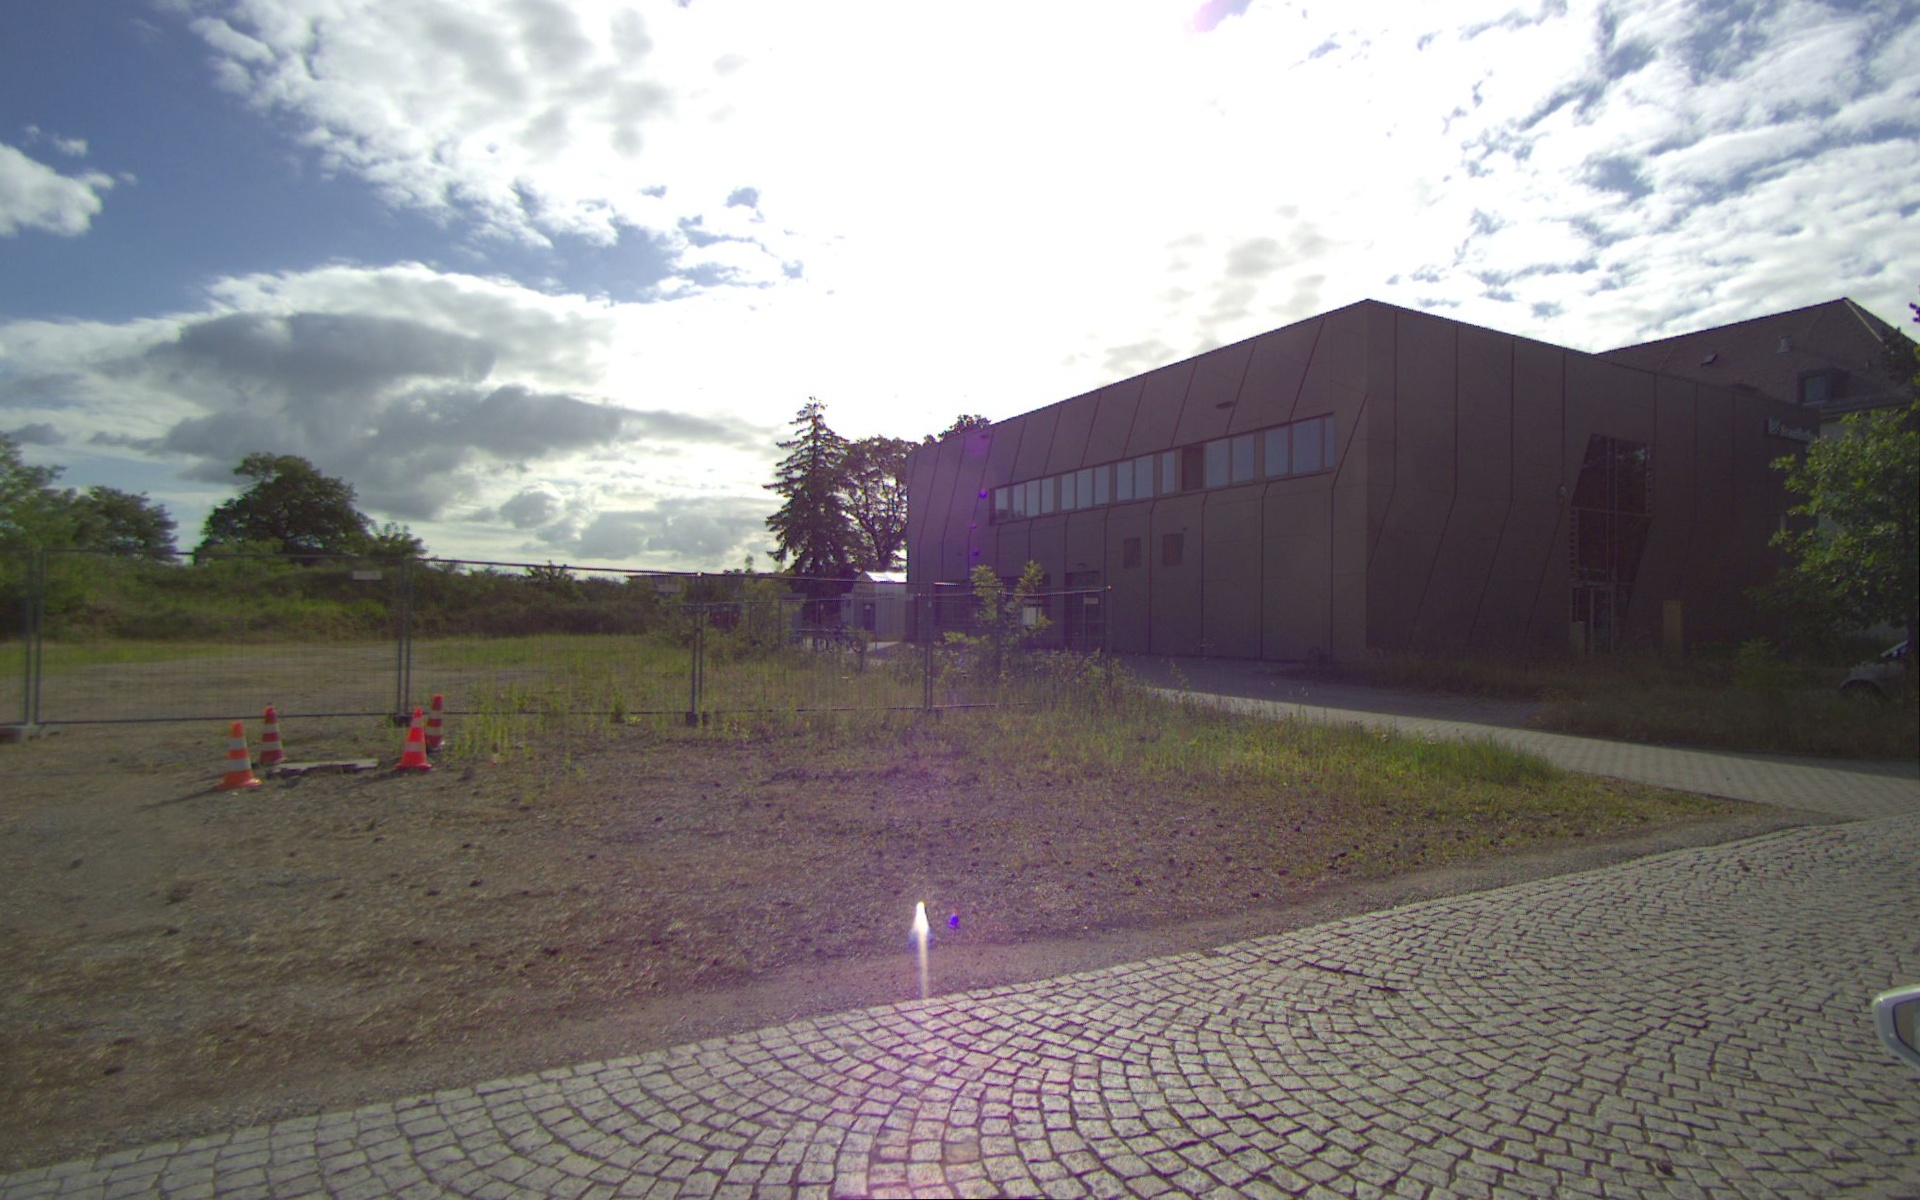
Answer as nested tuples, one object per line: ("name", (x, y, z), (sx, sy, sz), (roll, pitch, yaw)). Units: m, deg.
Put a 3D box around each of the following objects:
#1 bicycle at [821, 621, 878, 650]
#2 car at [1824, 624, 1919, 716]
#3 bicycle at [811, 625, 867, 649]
("bicycle", (-4.367, 1.408, 39.624), (2.045, 1.101, 0.938), (1, -1, -31))
("car", (17.213, 1.229, 17.655), (1.405, 1.570, 2.753), (1, -1, -24))
("bicycle", (-4.910, 1.503, 40.745), (2.045, 0.934, 0.938), (1, -1, -31))
